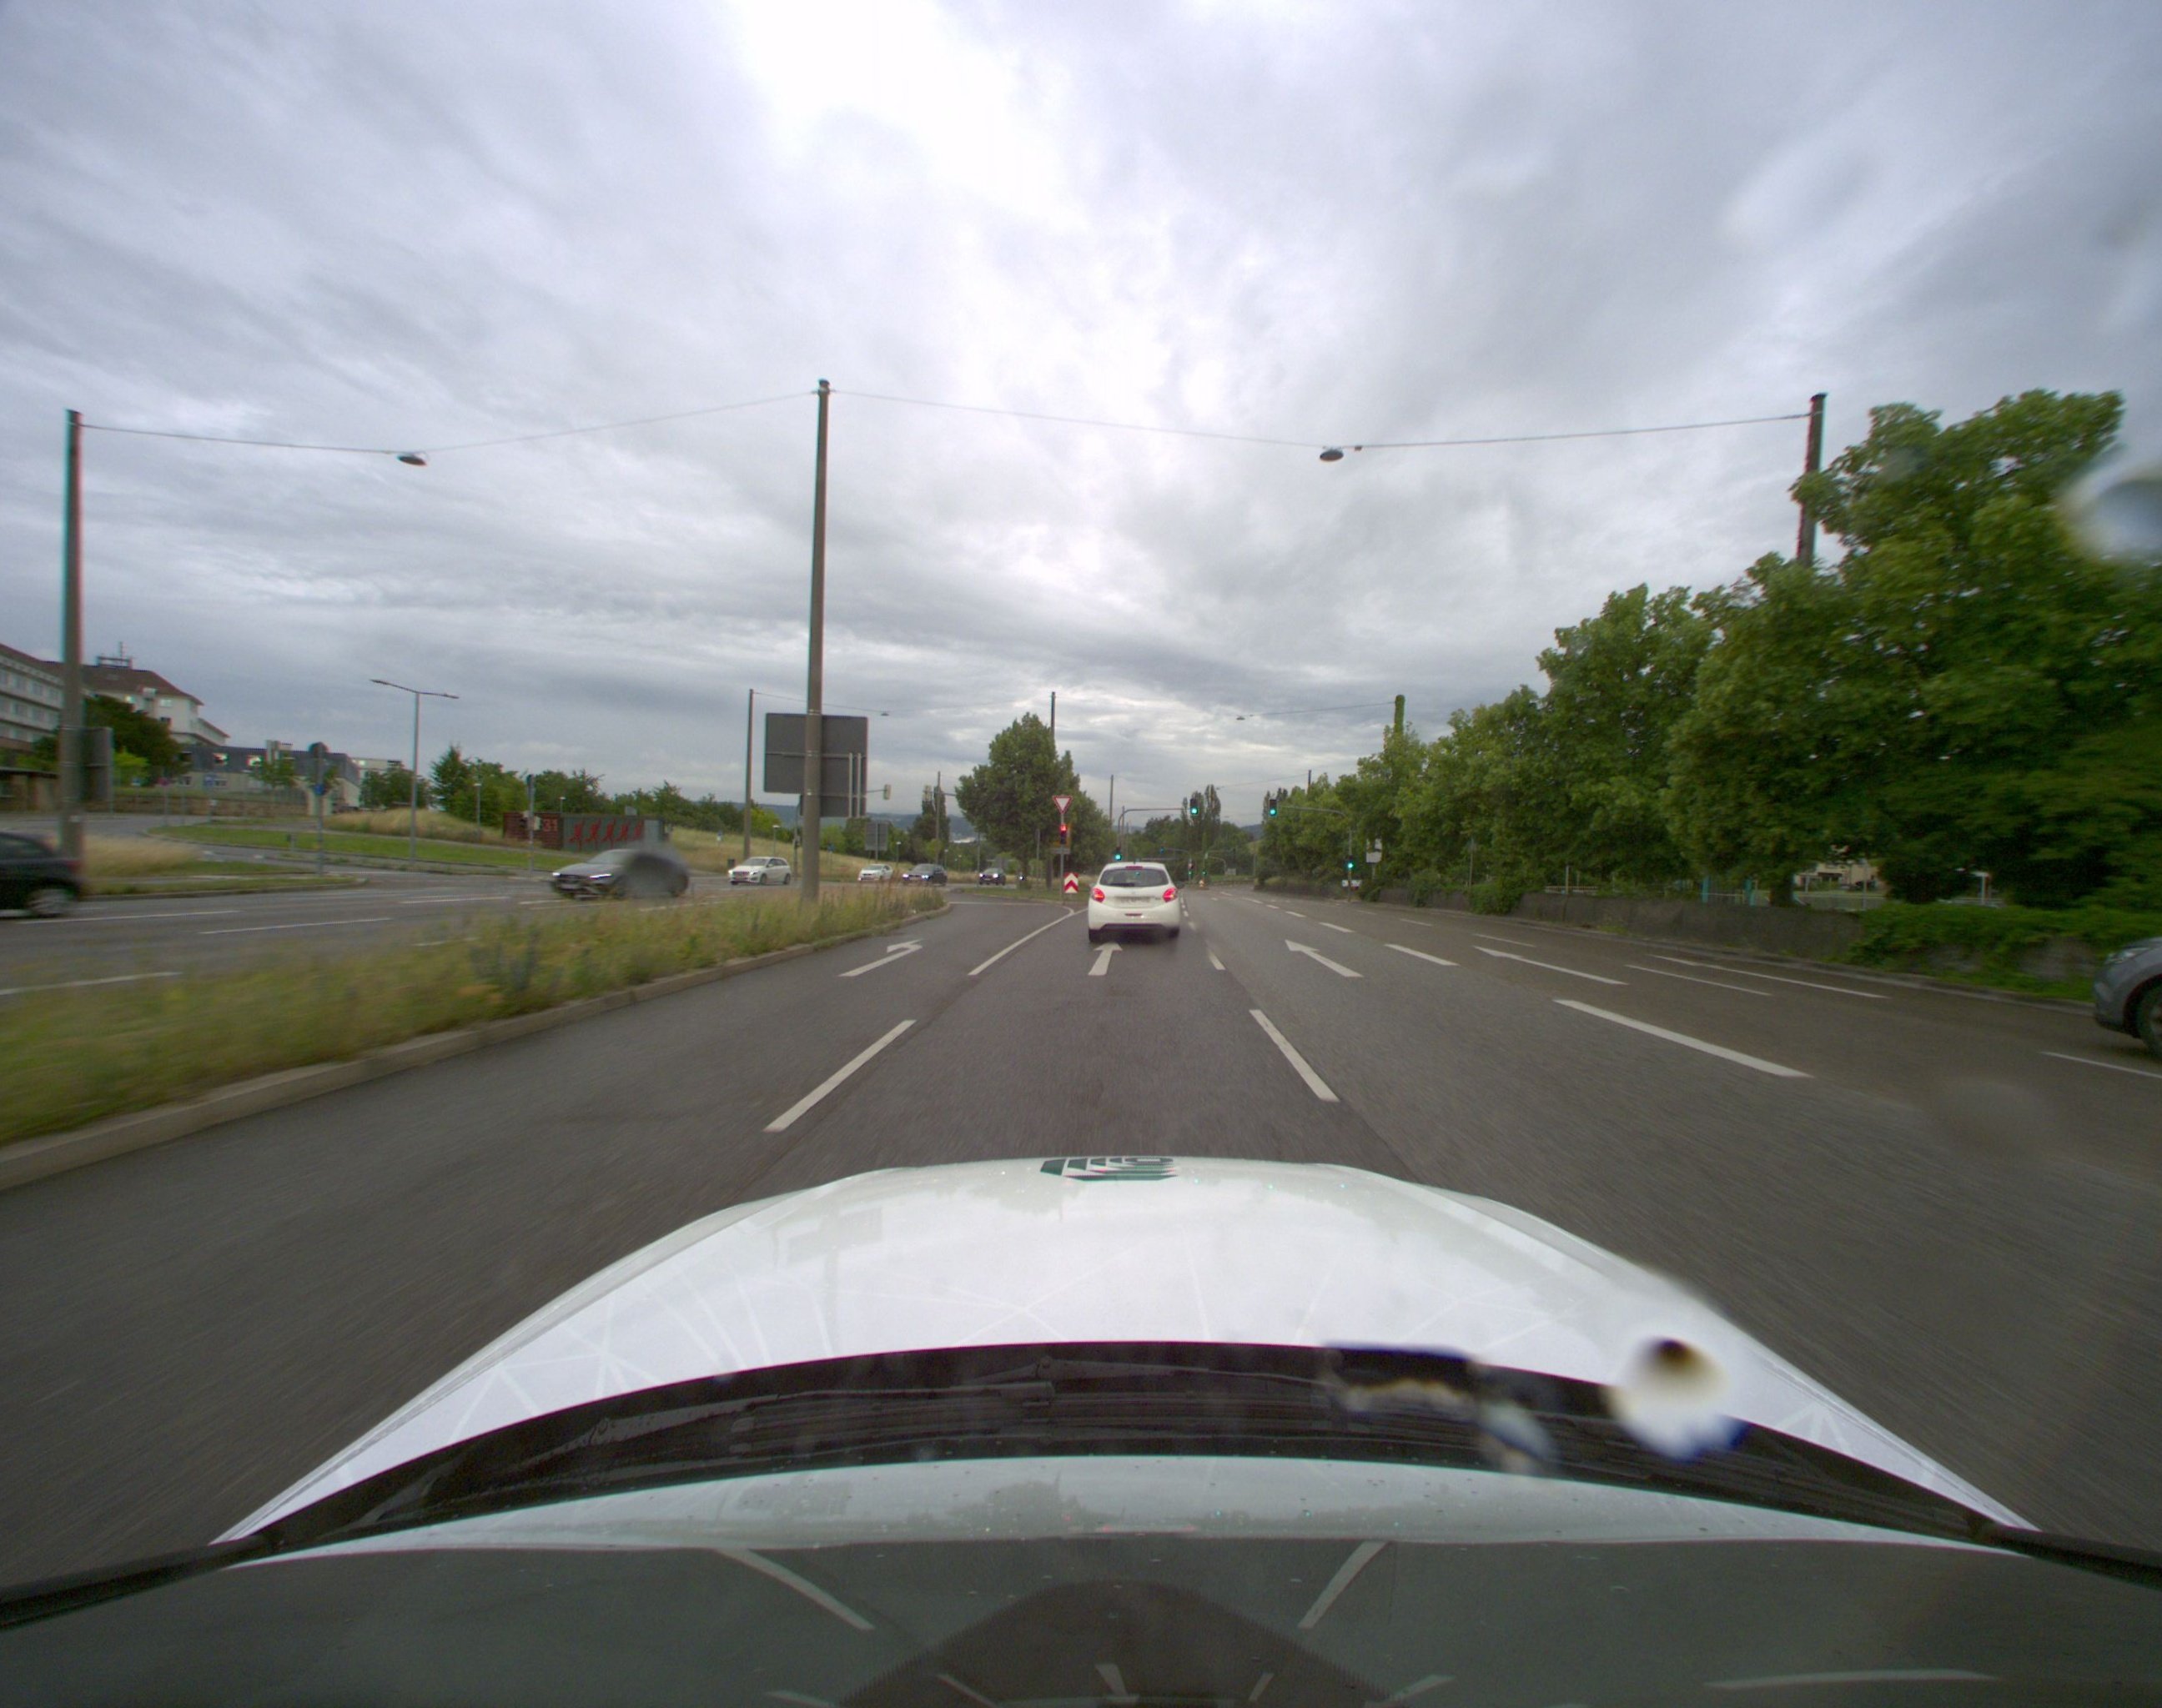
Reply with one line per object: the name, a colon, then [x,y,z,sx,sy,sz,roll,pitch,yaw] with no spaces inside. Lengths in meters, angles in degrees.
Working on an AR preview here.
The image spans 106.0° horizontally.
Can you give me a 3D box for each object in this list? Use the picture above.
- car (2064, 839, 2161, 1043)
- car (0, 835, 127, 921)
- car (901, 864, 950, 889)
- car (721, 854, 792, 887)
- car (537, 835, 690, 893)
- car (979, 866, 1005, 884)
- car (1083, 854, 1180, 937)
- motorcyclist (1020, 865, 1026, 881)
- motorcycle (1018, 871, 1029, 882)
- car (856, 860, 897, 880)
car: [9.537,0.788,4.902,1.718,1.648,4.629,3,1,3]
car: [-18.341,0.352,12.766,1.758,1.384,4.007,1,-2,7]
car: [-9.932,1.428,52.389,1.741,1.504,4.472,1,-1,7]
car: [-17.624,0.929,44.464,1.758,1.648,4.185,1,-2,7]
car: [-13.472,0.323,23.772,1.758,1.518,4.007,1,-2,7]
car: [-7.941,1.922,73.001,1.530,1.504,3.668,1,-2,7]
car: [1.092,0.770,16.156,1.700,1.440,3.697,-1,-1,6]
motorcyclist: [-6.059,1.988,85.071,0.579,1.596,0.644,1,0,6]
motorcycle: [-6.032,2.345,85.484,0.614,1.050,2.506,1,0,6]
car: [-15.452,1.245,61.703,1.643,1.463,3.780,1,-2,7]
